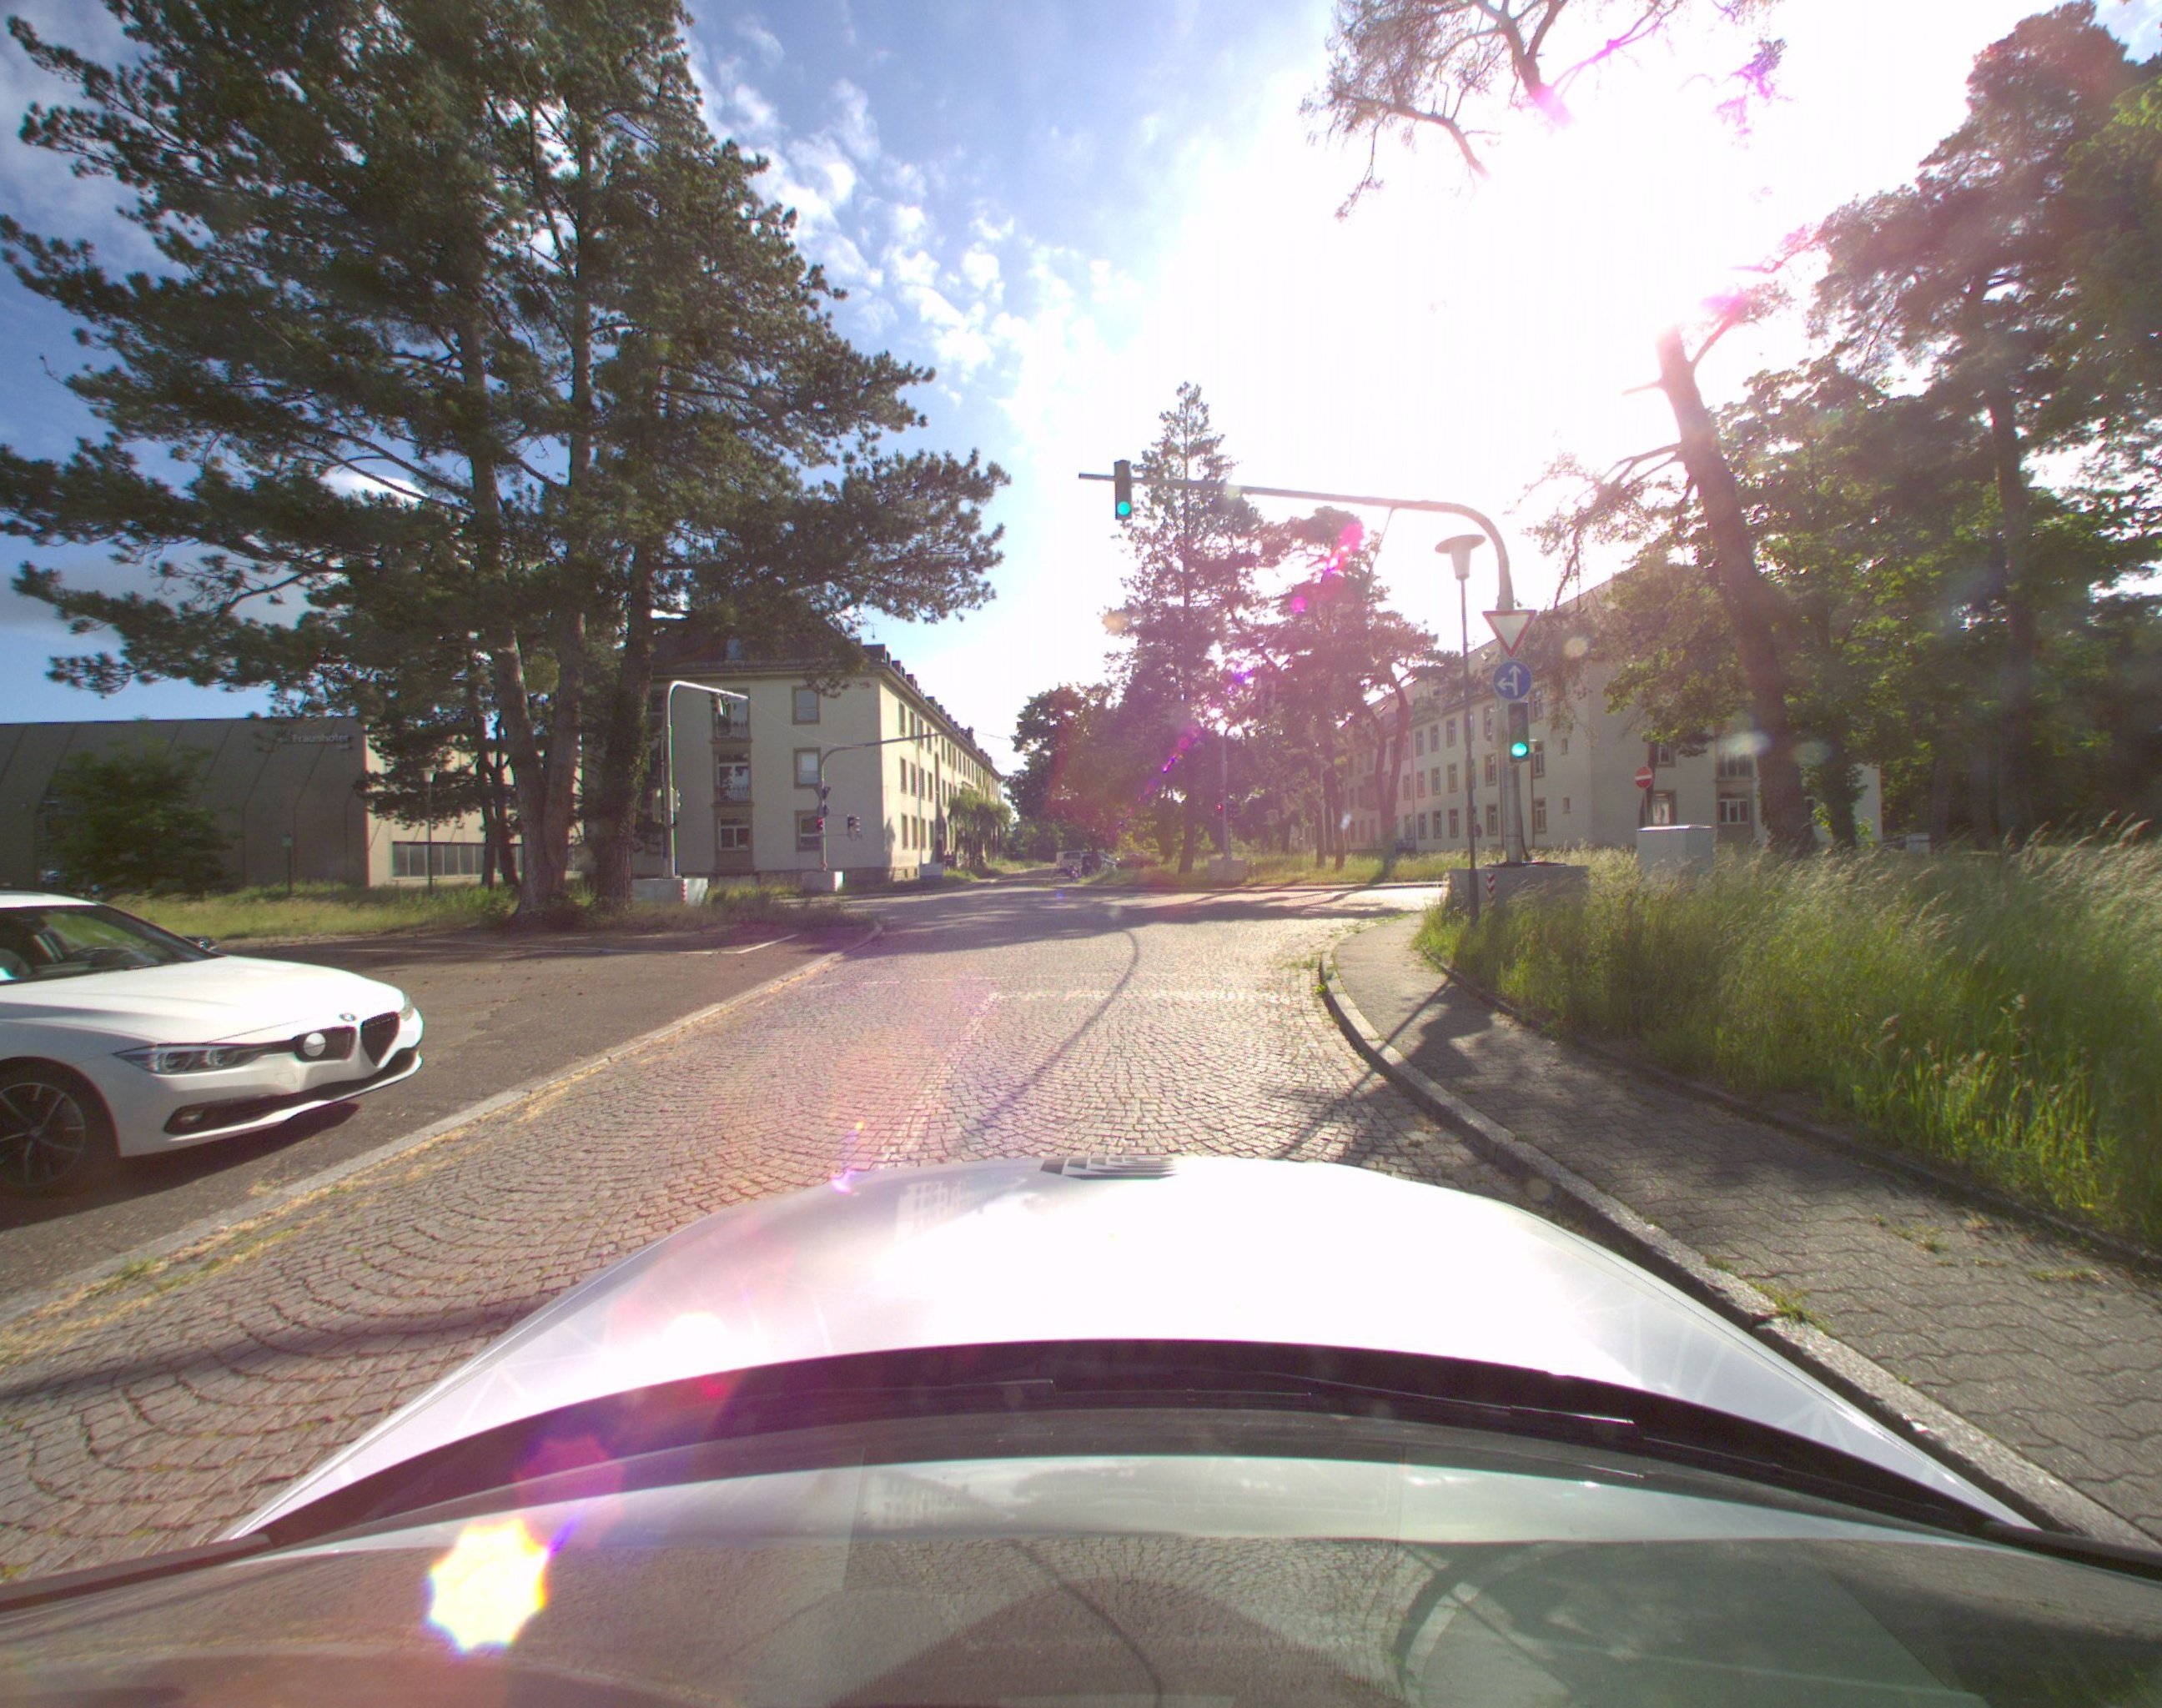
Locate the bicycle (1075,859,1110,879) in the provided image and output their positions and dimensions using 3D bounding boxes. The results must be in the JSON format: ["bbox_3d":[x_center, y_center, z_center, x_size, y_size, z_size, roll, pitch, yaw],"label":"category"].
[{"bbox_3d":[0.695,0.915,48.613,1.951,1.129,0.642,-1,0,-27],"label":"bicycle"}]

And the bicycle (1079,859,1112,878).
[{"bbox_3d":[0.877,0.870,49.703,1.938,1.129,0.646,-1,0,-6],"label":"bicycle"}]

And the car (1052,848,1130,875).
[{"bbox_3d":[0.768,0.588,64.618,5.925,2.013,2.469,-1,0,-7],"label":"car"}]

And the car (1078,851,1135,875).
[{"bbox_3d":[1.872,0.666,60.368,3.985,1.684,1.842,-1,0,-8],"label":"car"}]

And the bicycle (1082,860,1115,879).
[{"bbox_3d":[0.994,0.904,46.601,1.850,1.031,0.749,-1,0,-3],"label":"bicycle"}]

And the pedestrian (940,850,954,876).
[{"bbox_3d":[-9.617,0.668,58.524,0.806,1.817,0.556,-2,0,10],"label":"pedestrian"}]

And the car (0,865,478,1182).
[{"bbox_3d":[-6.491,0.827,4.737,4.530,1.467,1.751,1,0,-3],"label":"car"}]

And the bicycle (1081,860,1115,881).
[{"bbox_3d":[0.978,0.951,47.397,1.936,1.129,0.749,-1,0,-3],"label":"bicycle"}]

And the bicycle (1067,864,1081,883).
[{"bbox_3d":[-0.384,1.028,43.108,0.693,0.971,1.859,-1,0,-2],"label":"bicycle"}]

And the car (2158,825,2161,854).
[{"bbox_3d":[57.144,-0.786,40.869,3.978,1.464,1.845,-2,0,-4],"label":"car"}]

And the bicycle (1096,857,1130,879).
[{"bbox_3d":[1.897,0.817,48.108,1.936,1.235,0.485,-1,0,-4],"label":"bicycle"}]

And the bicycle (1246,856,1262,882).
[{"bbox_3d":[7.328,0.622,34.527,0.464,1.080,1.175,-2,-1,3],"label":"bicycle"}]

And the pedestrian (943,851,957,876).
[{"bbox_3d":[-9.607,0.710,59.751,0.762,1.817,0.684,-2,0,10],"label":"pedestrian"}]

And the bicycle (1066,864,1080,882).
[{"bbox_3d":[-0.439,1.026,45.045,0.693,0.971,1.859,-1,0,-2],"label":"bicycle"}]
